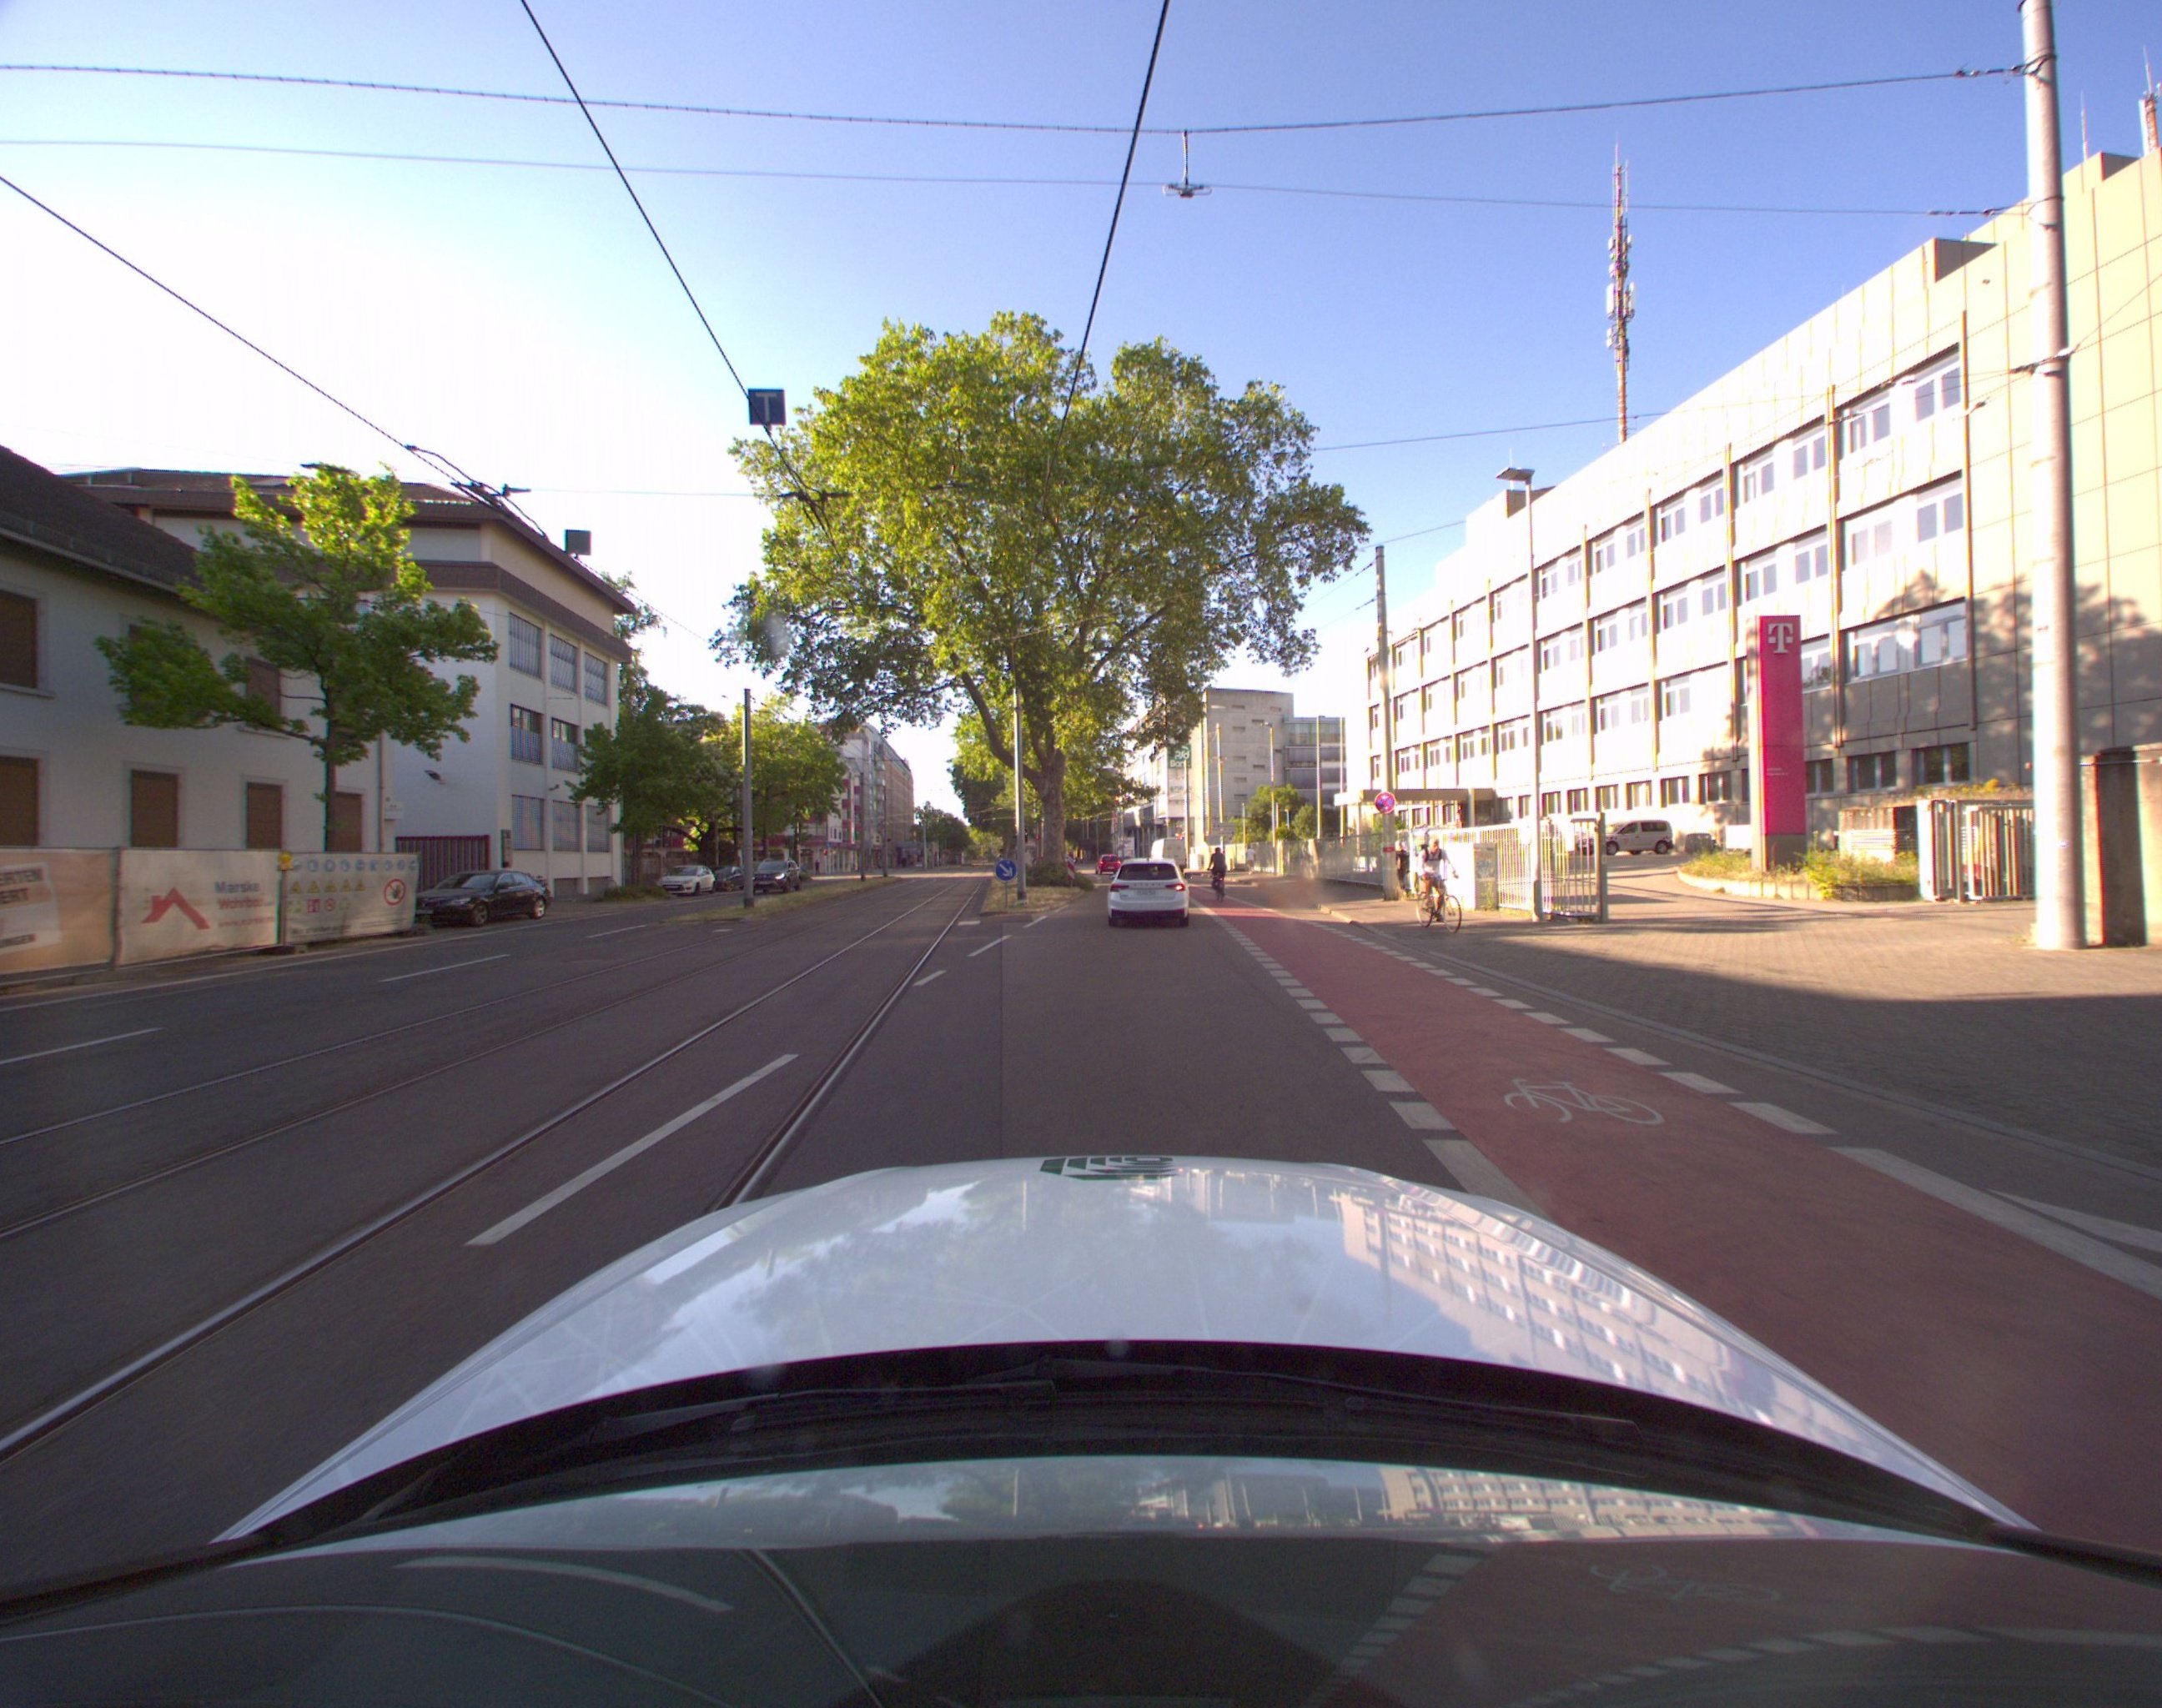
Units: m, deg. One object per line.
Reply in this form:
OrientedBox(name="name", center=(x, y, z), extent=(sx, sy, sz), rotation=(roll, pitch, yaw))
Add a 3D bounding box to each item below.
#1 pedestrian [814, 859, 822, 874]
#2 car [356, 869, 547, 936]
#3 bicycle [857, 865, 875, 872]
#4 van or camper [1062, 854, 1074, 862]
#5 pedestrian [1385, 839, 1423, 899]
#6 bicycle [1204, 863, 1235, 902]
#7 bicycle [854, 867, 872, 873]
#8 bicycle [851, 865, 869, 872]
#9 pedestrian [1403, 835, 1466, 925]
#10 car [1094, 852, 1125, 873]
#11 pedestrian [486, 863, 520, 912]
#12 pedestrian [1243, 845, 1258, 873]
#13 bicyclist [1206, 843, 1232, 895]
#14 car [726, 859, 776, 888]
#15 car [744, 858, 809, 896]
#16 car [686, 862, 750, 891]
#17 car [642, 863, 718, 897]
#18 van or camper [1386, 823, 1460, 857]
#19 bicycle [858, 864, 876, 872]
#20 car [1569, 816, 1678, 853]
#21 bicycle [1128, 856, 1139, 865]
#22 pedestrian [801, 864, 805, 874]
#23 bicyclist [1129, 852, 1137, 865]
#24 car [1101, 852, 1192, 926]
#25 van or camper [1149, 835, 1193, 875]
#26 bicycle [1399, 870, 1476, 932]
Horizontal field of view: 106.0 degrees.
OrientedBox(name="pedestrian", center=(-30.023, 1.418, 92.934), extent=(0.708, 1.662, 1.030), rotation=(-2, 0, -11))
OrientedBox(name="car", center=(-17.049, 1.221, 22.426), extent=(1.992, 1.513, 4.713), rotation=(-2, 0, -7))
OrientedBox(name="bicycle", center=(-28.119, 1.854, 106.440), extent=(2.169, 0.824, 0.526), rotation=(-2, 0, -10))
OrientedBox(name="van or camper", center=(-2.972, 0.993, 187.200), extent=(2.145, 1.750, 4.418), rotation=(-2, 0, -9))
OrientedBox(name="pedestrian", center=(9.385, 0.426, 23.697), extent=(0.693, 1.684, 0.930), rotation=(-2, 0, 1))
OrientedBox(name="bicycle", center=(4.545, 0.912, 26.844), extent=(0.741, 1.224, 2.157), rotation=(0, 0, 2))
OrientedBox(name="bicycle", center=(-28.112, 2.052, 105.076), extent=(2.169, 0.787, 0.490), rotation=(-2, 0, -10))
OrientedBox(name="bicycle", center=(-28.292, 1.890, 104.292), extent=(2.169, 0.787, 0.639), rotation=(-2, 0, -10))
OrientedBox(name="pedestrian", center=(6.715, 0.472, 15.525), extent=(0.667, 1.619, 1.103), rotation=(-4, 0, 2))
OrientedBox(name="car", center=(2.105, 0.660, 61.756), extent=(1.837, 1.489, 3.709), rotation=(-1, 0, -6))
OrientedBox(name="pedestrian", center=(-19.236, 1.105, 27.114), extent=(0.634, 1.620, 0.730), rotation=(0, -1, -4))
OrientedBox(name="pedestrian", center=(10.869, 0.322, 52.308), extent=(0.783, 1.748, 0.772), rotation=(-2, 0, 2))
OrientedBox(name="bicyclist", center=(4.549, 0.481, 26.881), extent=(0.740, 1.669, 0.745), rotation=(0, 0, 2))
OrientedBox(name="car", center=(-21.059, 1.209, 52.111), extent=(1.992, 1.689, 4.166), rotation=(-1, 0, -8))
OrientedBox(name="car", center=(-14.627, 1.044, 39.323), extent=(1.992, 1.689, 4.298), rotation=(-1, 0, -8))
OrientedBox(name="car", center=(-20.115, 1.199, 45.305), extent=(1.992, 1.476, 4.636), rotation=(-2, 0, -8))
OrientedBox(name="car", center=(-19.272, 1.193, 39.400), extent=(1.992, 1.471, 4.393), rotation=(-2, 0, -8))
OrientedBox(name="van or camper", center=(20.995, -0.819, 50.211), extent=(1.978, 1.909, 4.988), rotation=(-2, 0, -7))
OrientedBox(name="bicycle", center=(-28.168, 1.808, 107.085), extent=(2.169, 0.951, 0.490), rotation=(-2, 0, -10))
OrientedBox(name="car", center=(27.043, -0.949, 40.636), extent=(4.247, 1.718, 1.989), rotation=(-2, 0, -7))
OrientedBox(name="bicycle", center=(6.401, 0.789, 99.367), extent=(0.792, 1.161, 2.493), rotation=(-1, 0, -8))
OrientedBox(name="pedestrian", center=(-32.133, 1.717, 94.129), extent=(0.303, 1.214, 0.317), rotation=(-2, 0, -11))
OrientedBox(name="bicyclist", center=(6.373, 0.529, 99.547), extent=(0.785, 1.635, 0.637), rotation=(-1, 0, -9))
OrientedBox(name="car", center=(1.588, 0.712, 18.421), extent=(1.792, 1.501, 3.990), rotation=(-1, 0, 8))
OrientedBox(name="van or camper", center=(6.472, 0.078, 59.496), extent=(2.263, 2.733, 6.341), rotation=(1, 0, -2))
OrientedBox(name="bicycle", center=(6.746, 0.858, 15.505), extent=(0.672, 1.032, 1.902), rotation=(-4, 0, 3))
